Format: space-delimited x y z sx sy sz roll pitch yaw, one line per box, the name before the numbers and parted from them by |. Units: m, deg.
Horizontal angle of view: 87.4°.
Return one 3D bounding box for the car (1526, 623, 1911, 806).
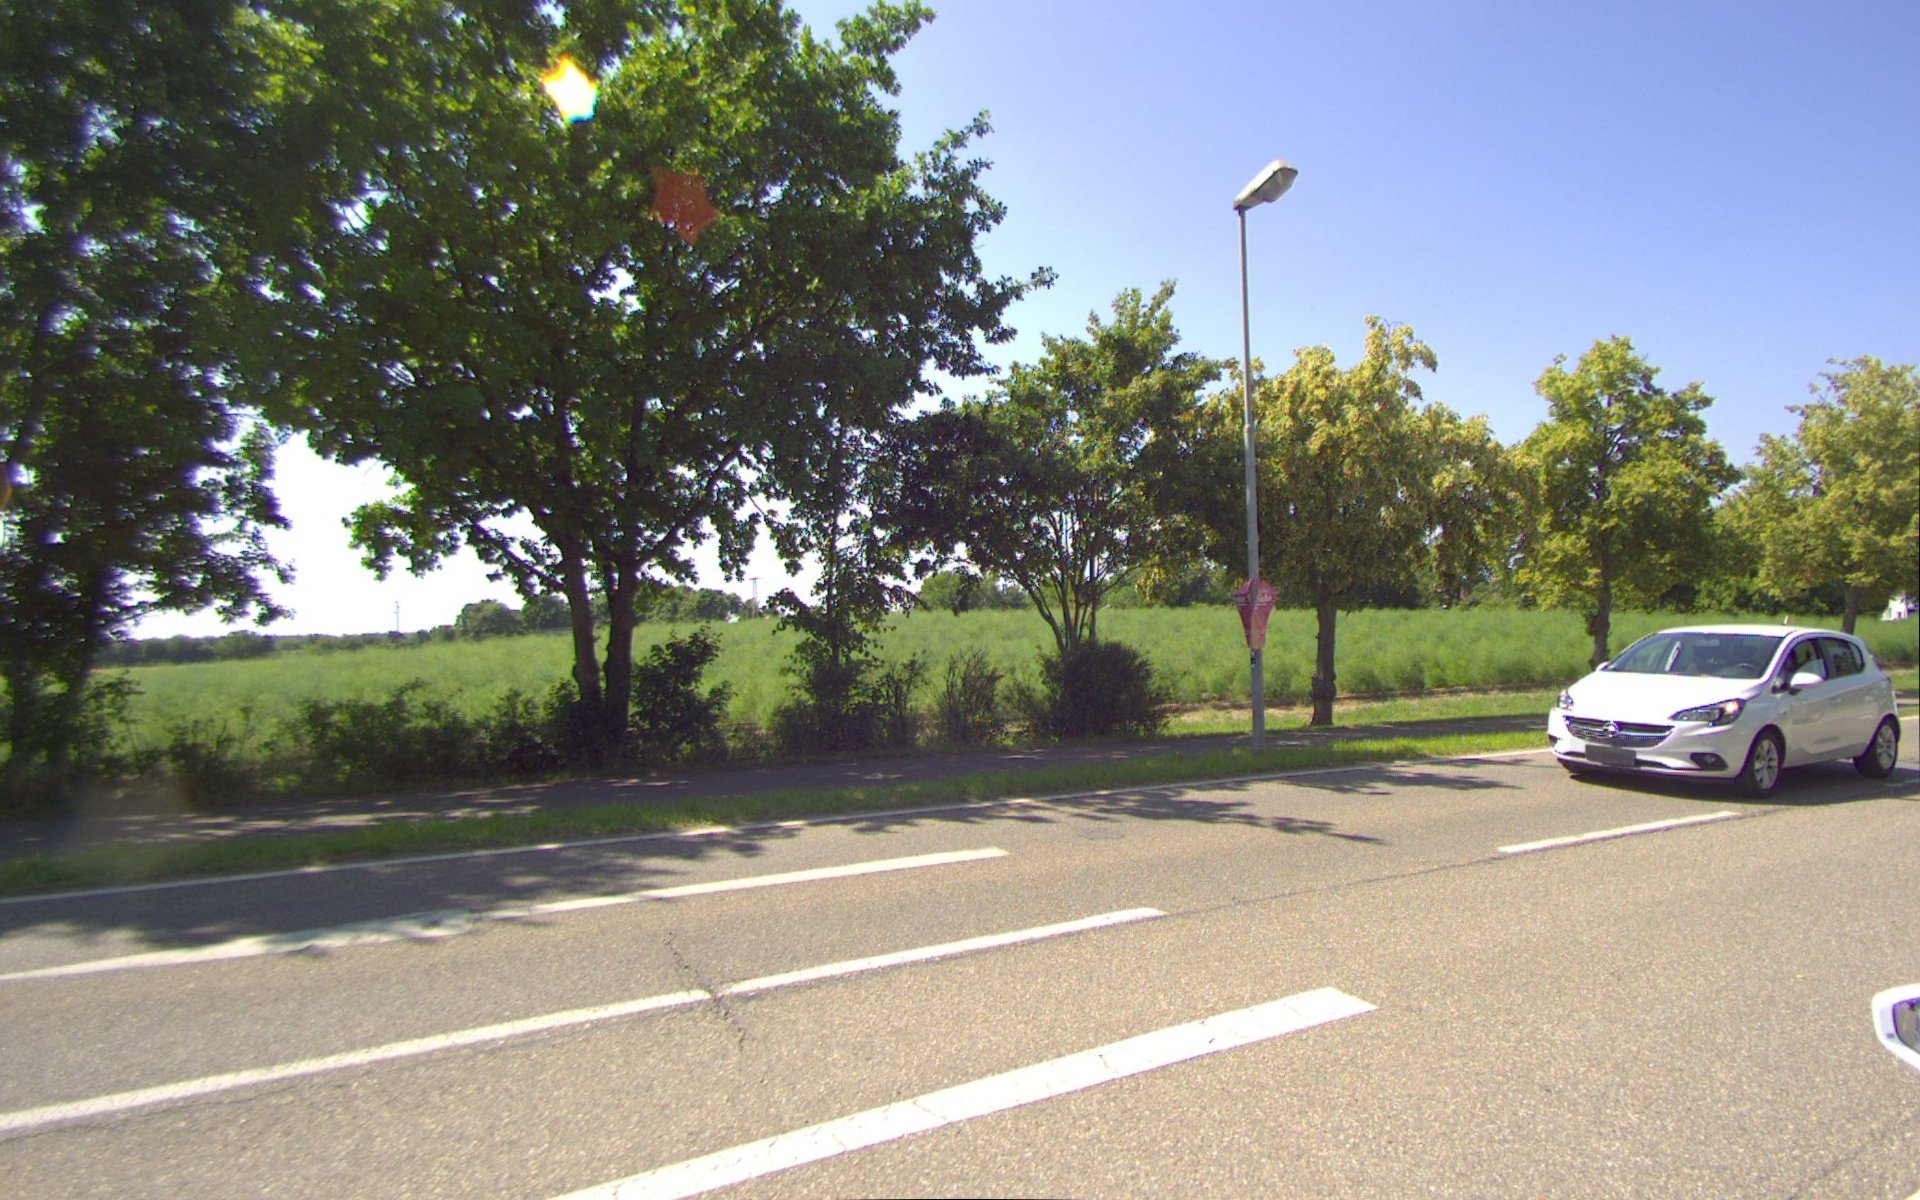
car | 7.471 0.979 9.831 3.850 1.453 1.641 1 -1 -30
